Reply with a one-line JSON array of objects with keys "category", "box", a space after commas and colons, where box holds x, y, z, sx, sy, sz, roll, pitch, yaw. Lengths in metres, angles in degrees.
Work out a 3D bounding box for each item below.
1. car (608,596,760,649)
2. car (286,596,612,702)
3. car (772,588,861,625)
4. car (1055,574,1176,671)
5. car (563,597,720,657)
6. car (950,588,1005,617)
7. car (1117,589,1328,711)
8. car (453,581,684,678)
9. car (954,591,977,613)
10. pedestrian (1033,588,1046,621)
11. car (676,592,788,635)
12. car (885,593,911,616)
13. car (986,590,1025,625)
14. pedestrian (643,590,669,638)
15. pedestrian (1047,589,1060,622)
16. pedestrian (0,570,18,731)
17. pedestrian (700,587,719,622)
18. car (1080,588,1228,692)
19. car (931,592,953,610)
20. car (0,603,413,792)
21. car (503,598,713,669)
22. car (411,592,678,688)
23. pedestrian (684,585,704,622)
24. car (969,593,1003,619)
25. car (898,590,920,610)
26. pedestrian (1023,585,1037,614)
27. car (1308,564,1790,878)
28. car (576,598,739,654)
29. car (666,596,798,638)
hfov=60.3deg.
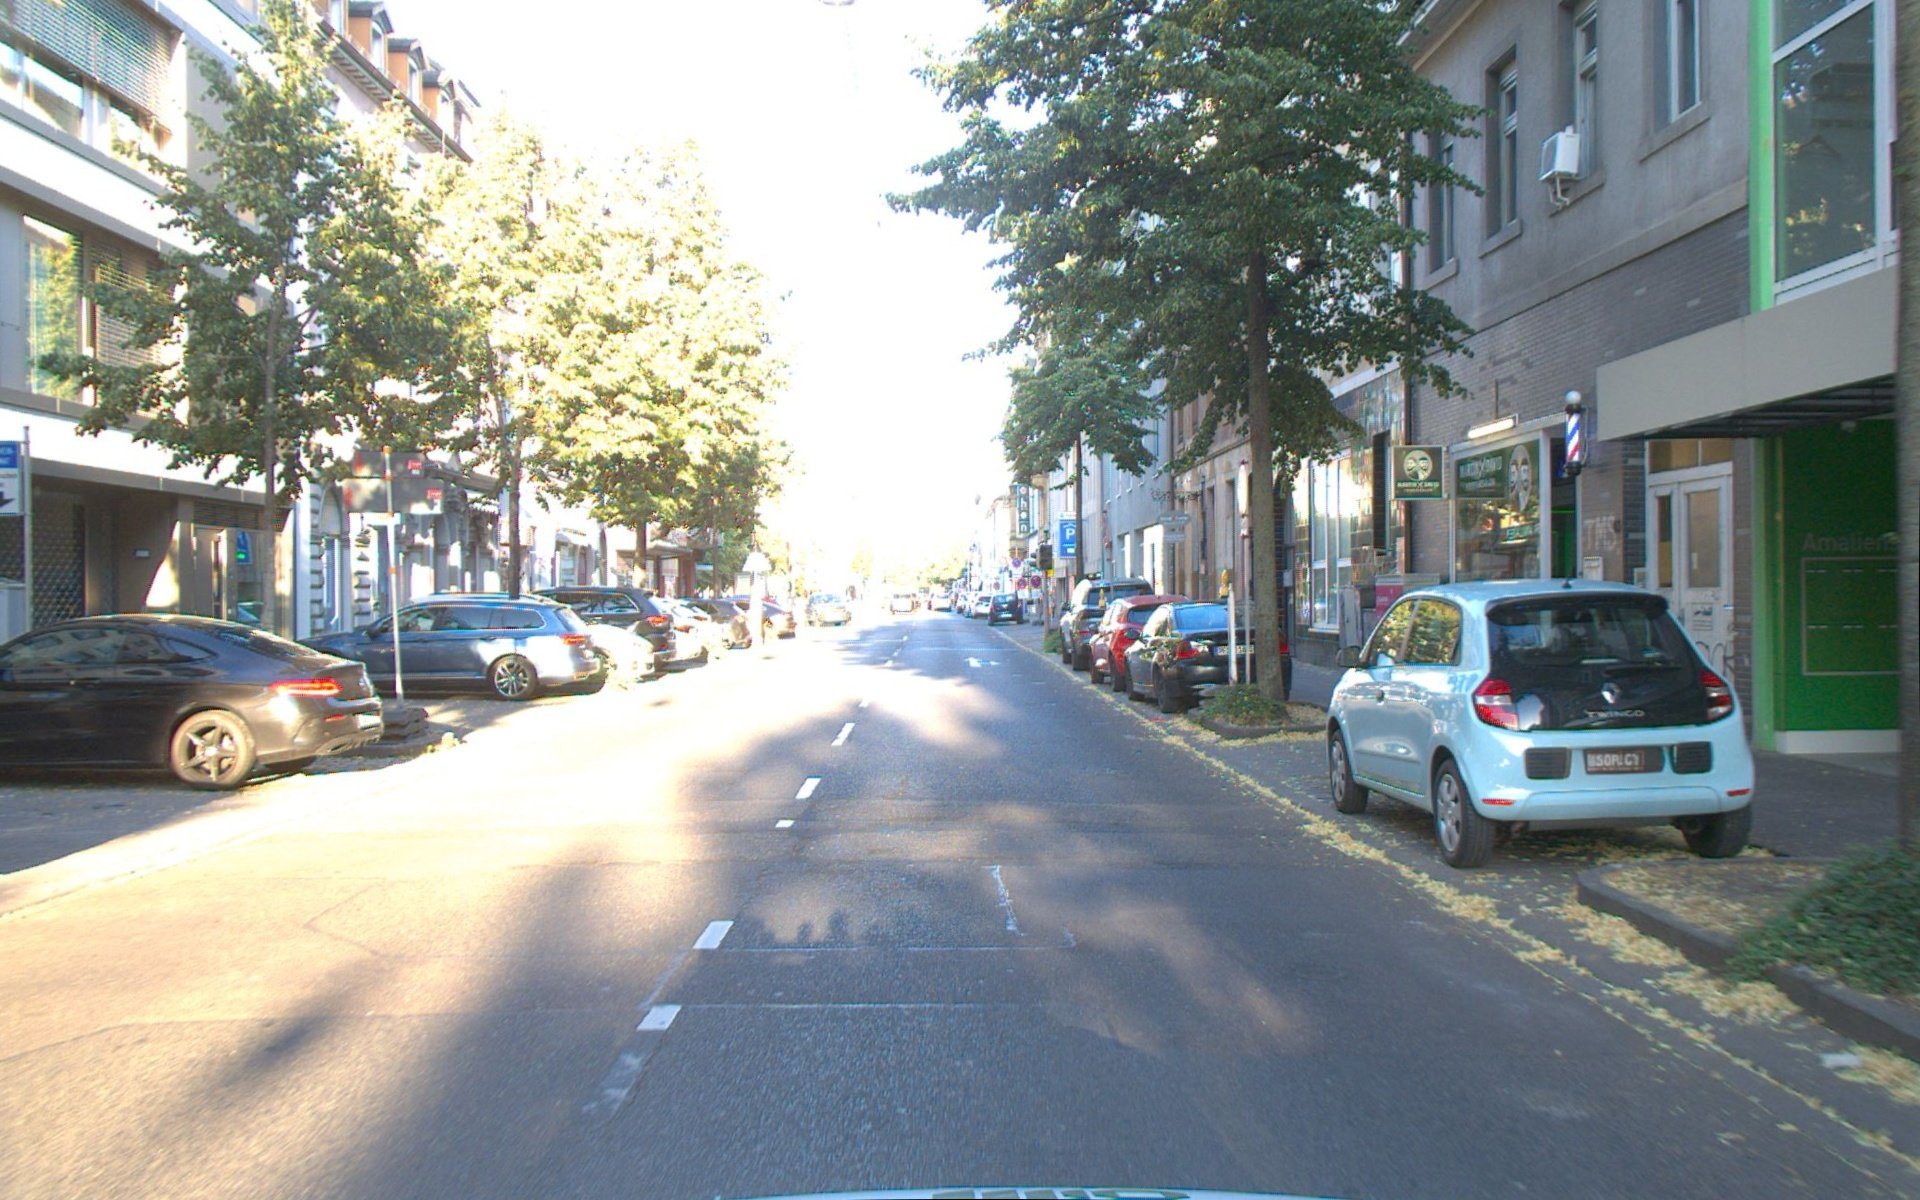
[{"category": "car", "box": [-7.745, 0.618, 46.691, 4.025, 1.428, 1.883, 0, 0, -4]}, {"category": "car", "box": [-7.679, 0.714, 25.206, 4.459, 1.510, 1.742, 0, 0, -5]}, {"category": "car", "box": [-7.107, 0.313, 81.753, 4.379, 1.721, 1.857, 0, 2, 41]}, {"category": "car", "box": [3.154, 0.418, 34.446, 1.997, 1.767, 4.711, -3, 0, 0]}, {"category": "car", "box": [-7.962, 0.665, 41.617, 3.664, 1.469, 1.804, 0, 0, -4]}, {"category": "car", "box": [1.104, 0.171, 108.353, 1.967, 1.792, 4.433, -1, 0, -24]}, {"category": "car", "box": [3.490, 0.613, 22.860, 1.913, 1.414, 4.421, -3, 0, -4]}, {"category": "car", "box": [-7.497, 0.557, 31.978, 4.067, 1.804, 1.889, 0, 0, -4]}, {"category": "car", "box": [0.424, 0.155, 134.597, 1.695, 1.679, 4.283, 1, 0, -2]}, {"category": "pedestrian", "box": [3.989, 0.239, 82.970, 0.592, 1.627, 0.773, 0, 0, -2]}, {"category": "car", "box": [-8.567, 0.493, 62.409, 3.990, 1.563, 1.884, 0, 0, -1]}, {"category": "car", "box": [-4.624, 0.312, 123.318, 1.858, 1.678, 4.103, 0, 0, -2]}, {"category": "car", "box": [2.238, 0.362, 82.005, 1.723, 1.563, 4.000, -4, 0, 0]}, {"category": "pedestrian", "box": [-11.147, 0.508, 60.642, 0.756, 1.752, 0.875, 1, -2, -1]}, {"category": "pedestrian", "box": [4.699, 0.262, 83.026, 0.592, 1.627, 0.773, 0, 0, -2]}, {"category": "pedestrian", "box": [-10.935, 0.549, 18.062, 0.704, 1.780, 0.933, 2, 0, -1]}, {"category": "pedestrian", "box": [-11.133, 0.204, 73.456, 0.719, 1.555, 0.875, 1, -2, -1]}, {"category": "car", "box": [3.135, 0.607, 27.435, 1.695, 1.513, 3.897, -3, 0, -4]}, {"category": "car", "box": [-1.619, 0.089, 148.849, 1.858, 1.609, 3.999, 1, 0, -2]}, {"category": "car", "box": [-7.133, 0.797, 14.345, 4.187, 1.510, 1.744, 0, 0, -1]}, {"category": "car", "box": [-7.346, 0.692, 34.806, 4.067, 1.446, 1.765, 0, 0, -4]}, {"category": "car", "box": [-7.357, 0.695, 29.606, 4.317, 1.624, 1.889, 0, 1, -2]}, {"category": "pedestrian", "box": [-11.783, 0.156, 73.345, 0.756, 1.636, 0.875, 1, -2, -1]}, {"category": "car", "box": [1.533, 0.376, 100.751, 1.724, 1.563, 4.818, 1, -1, -3]}, {"category": "car", "box": [-4.402, 0.012, 142.597, 1.858, 1.678, 4.103, 0, 0, -2]}, {"category": "pedestrian", "box": [4.385, -0.030, 103.869, 0.757, 1.741, 1.041, -2, 0, -2]}, {"category": "car", "box": [3.468, 0.619, 10.451, 1.657, 1.570, 3.552, -3, 0, -1]}, {"category": "car", "box": [-8.080, 0.691, 44.383, 4.013, 1.428, 1.843, 0, 0, 0]}, {"category": "car", "box": [-8.104, 0.595, 59.091, 4.479, 1.432, 1.820, 0, 0, -3]}]
